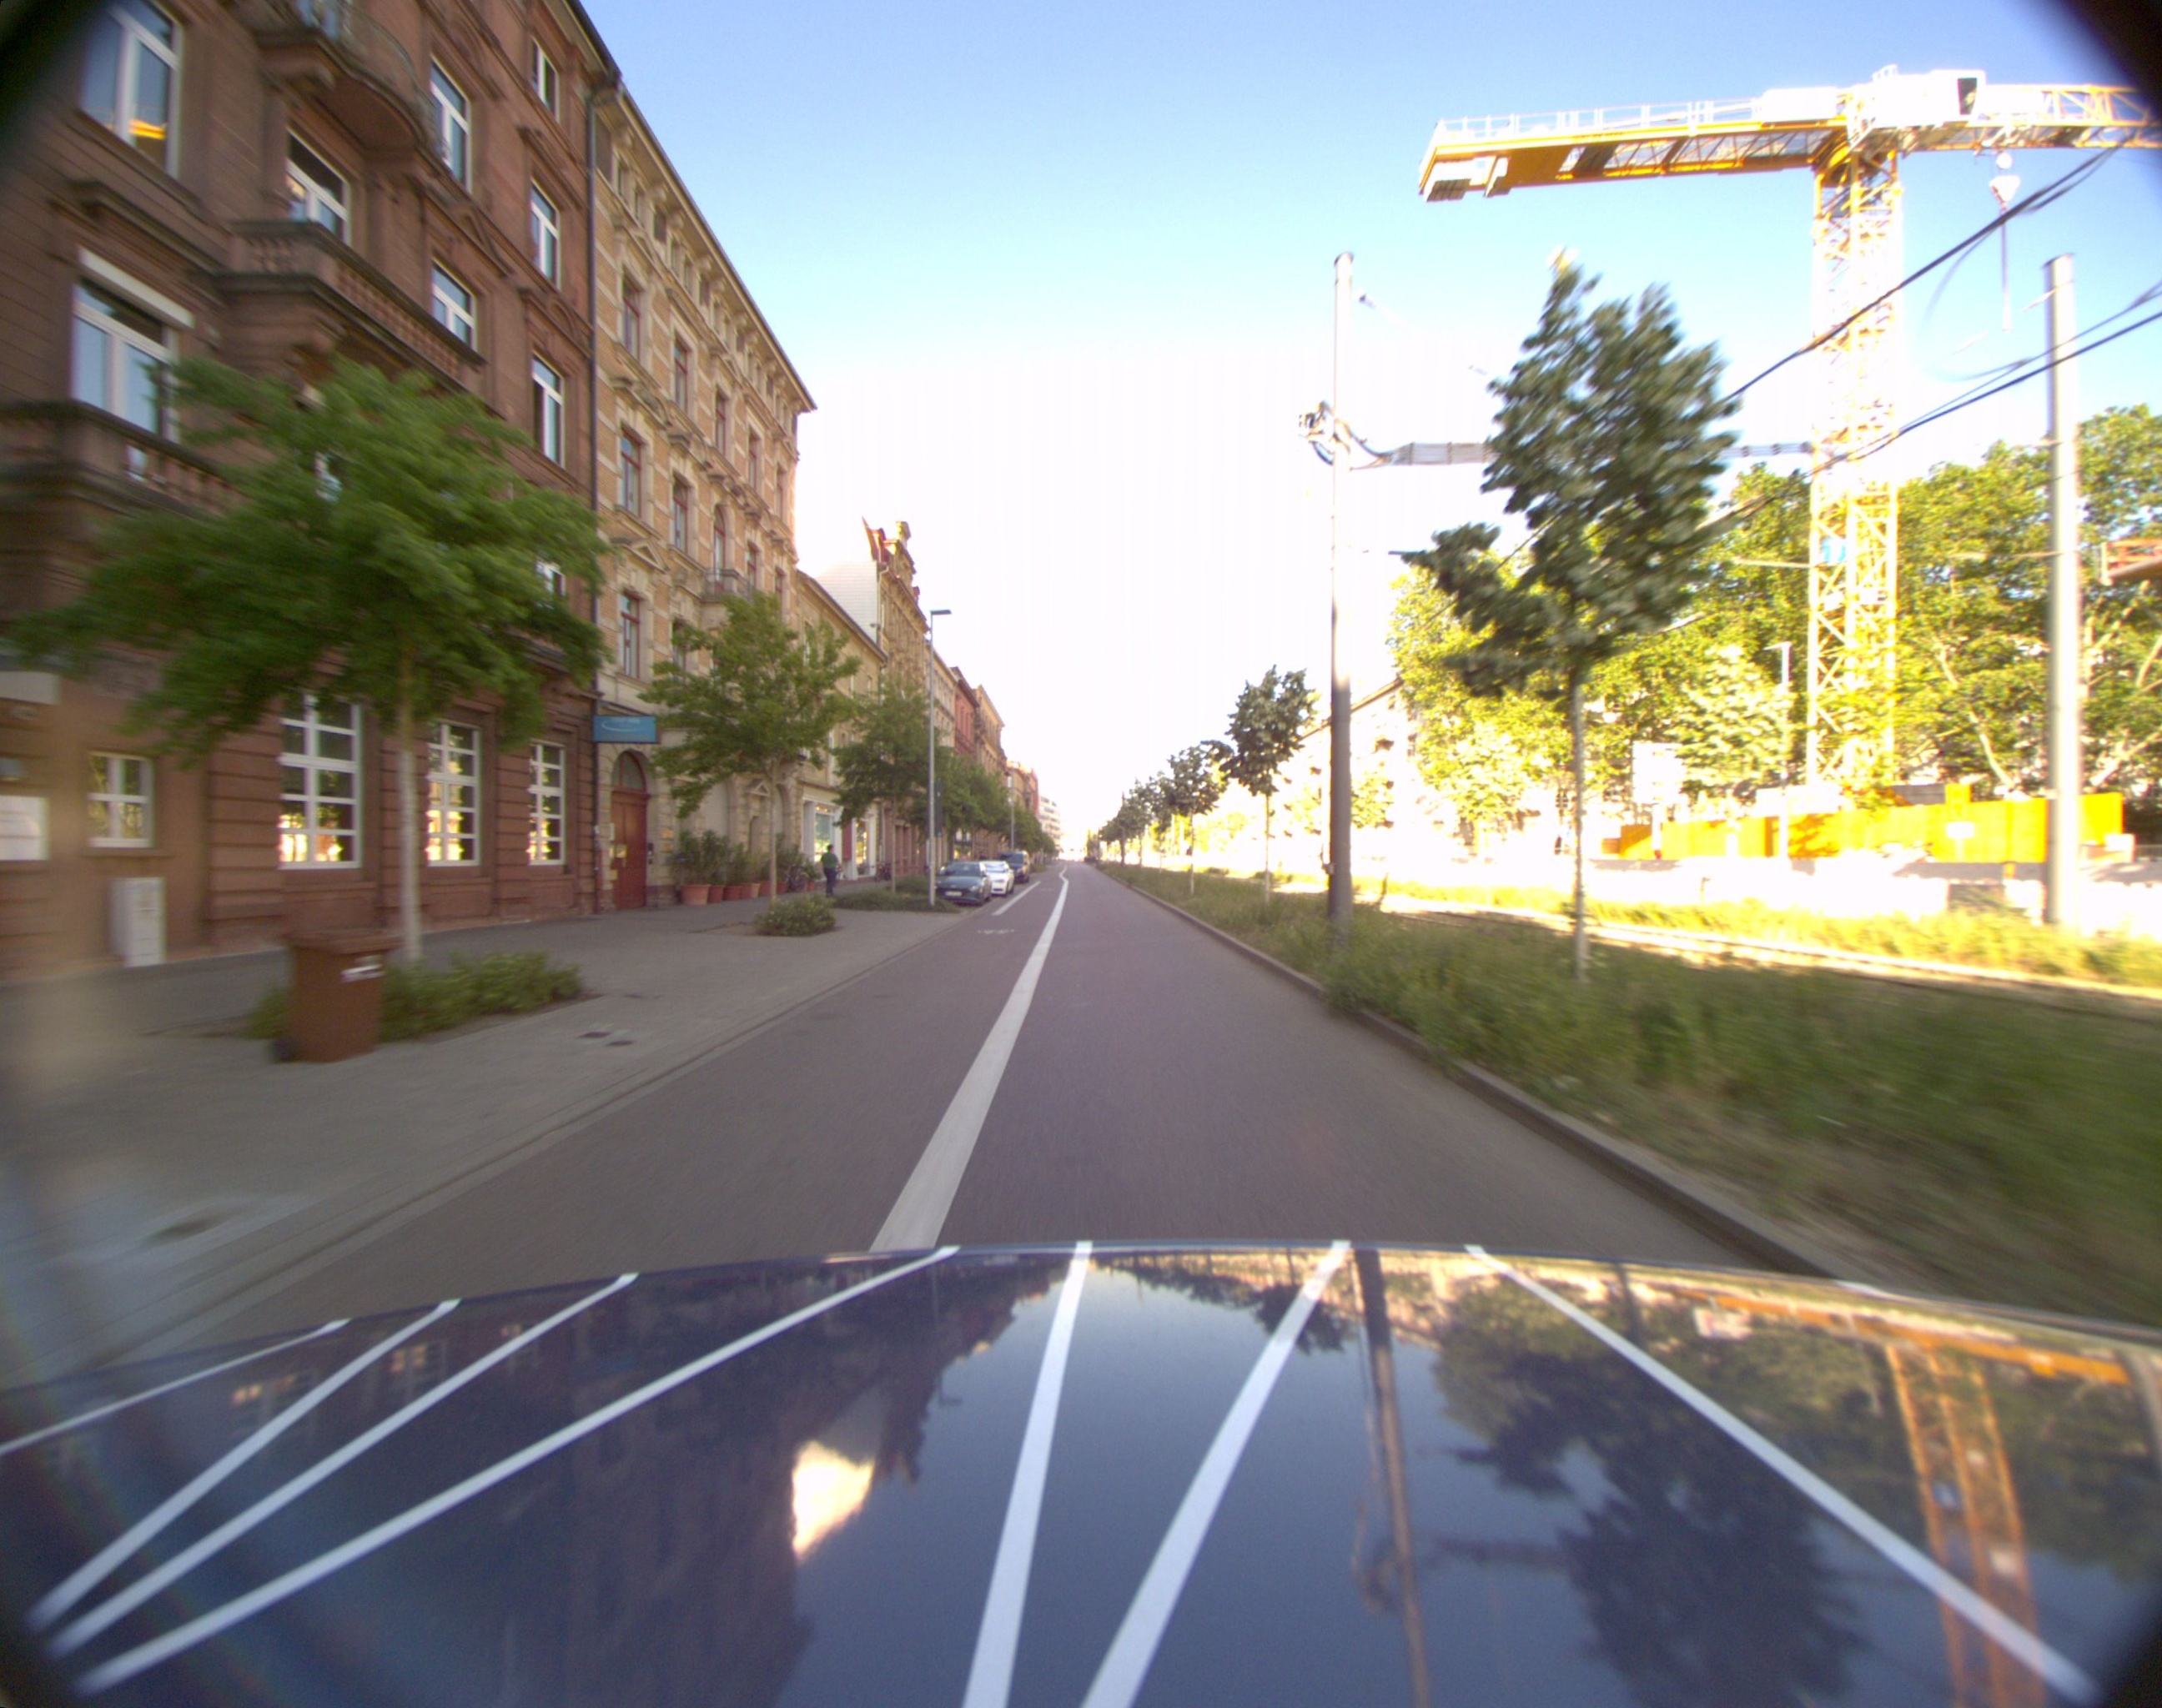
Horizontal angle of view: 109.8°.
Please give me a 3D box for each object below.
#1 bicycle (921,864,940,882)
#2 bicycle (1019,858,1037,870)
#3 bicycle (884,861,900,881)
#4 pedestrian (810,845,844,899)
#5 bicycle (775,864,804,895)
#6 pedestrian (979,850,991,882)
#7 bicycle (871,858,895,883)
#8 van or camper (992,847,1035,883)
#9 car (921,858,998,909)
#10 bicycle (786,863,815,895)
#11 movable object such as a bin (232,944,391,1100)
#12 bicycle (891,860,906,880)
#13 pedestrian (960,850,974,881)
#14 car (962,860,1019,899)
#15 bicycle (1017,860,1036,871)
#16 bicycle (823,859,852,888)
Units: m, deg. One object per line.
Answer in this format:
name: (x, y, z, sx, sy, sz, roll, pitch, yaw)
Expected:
bicycle: (-7.755, 0.969, 39.221, 0.656, 0.910, 1.682, -1, 0, 0)
bicycle: (-4.952, 0.950, 70.724, 1.584, 1.112, 0.577, 0, 0, 2)
bicycle: (-10.526, 0.932, 42.377, 0.344, 1.027, 2.072, -1, 0, 0)
pedestrian: (-8.395, 0.589, 25.150, 0.749, 1.744, 1.072, 1, 1, 1)
bicycle: (-10.487, 0.907, 27.386, 0.385, 1.074, 1.676, -1, 0, 1)
pedestrian: (-5.318, 0.639, 42.089, 0.471, 1.768, 0.506, -1, 1, 19)
bicycle: (-10.301, 0.842, 39.555, 0.706, 1.213, 2.072, -1, 0, 0)
van or camper: (-3.963, 0.616, 45.561, 1.966, 1.960, 5.487, 2, 0, 1)
car: (-4.027, 0.935, 25.915, 1.853, 1.555, 4.297, 2, 0, 1)
bicycle: (-10.099, 0.891, 27.439, 0.385, 1.074, 1.676, -1, 0, 1)
movable object such as a bin: (-5.461, 1.158, 5.408, 0.676, 0.919, 0.561, 3, 2, 21)
bicycle: (-10.178, 0.881, 42.379, 0.325, 1.058, 2.072, -1, 0, 0)
pedestrian: (-6.375, 0.646, 42.393, 0.481, 1.718, 0.578, 0, 1, 45)
car: (-3.737, 1.003, 32.174, 1.853, 1.445, 5.252, 2, 0, -1)
bicycle: (-4.897, 1.031, 68.036, 1.613, 1.046, 0.478, 0, 0, 2)
bicycle: (-10.403, 0.812, 32.507, 0.721, 1.188, 1.772, 0, 0, -3)
